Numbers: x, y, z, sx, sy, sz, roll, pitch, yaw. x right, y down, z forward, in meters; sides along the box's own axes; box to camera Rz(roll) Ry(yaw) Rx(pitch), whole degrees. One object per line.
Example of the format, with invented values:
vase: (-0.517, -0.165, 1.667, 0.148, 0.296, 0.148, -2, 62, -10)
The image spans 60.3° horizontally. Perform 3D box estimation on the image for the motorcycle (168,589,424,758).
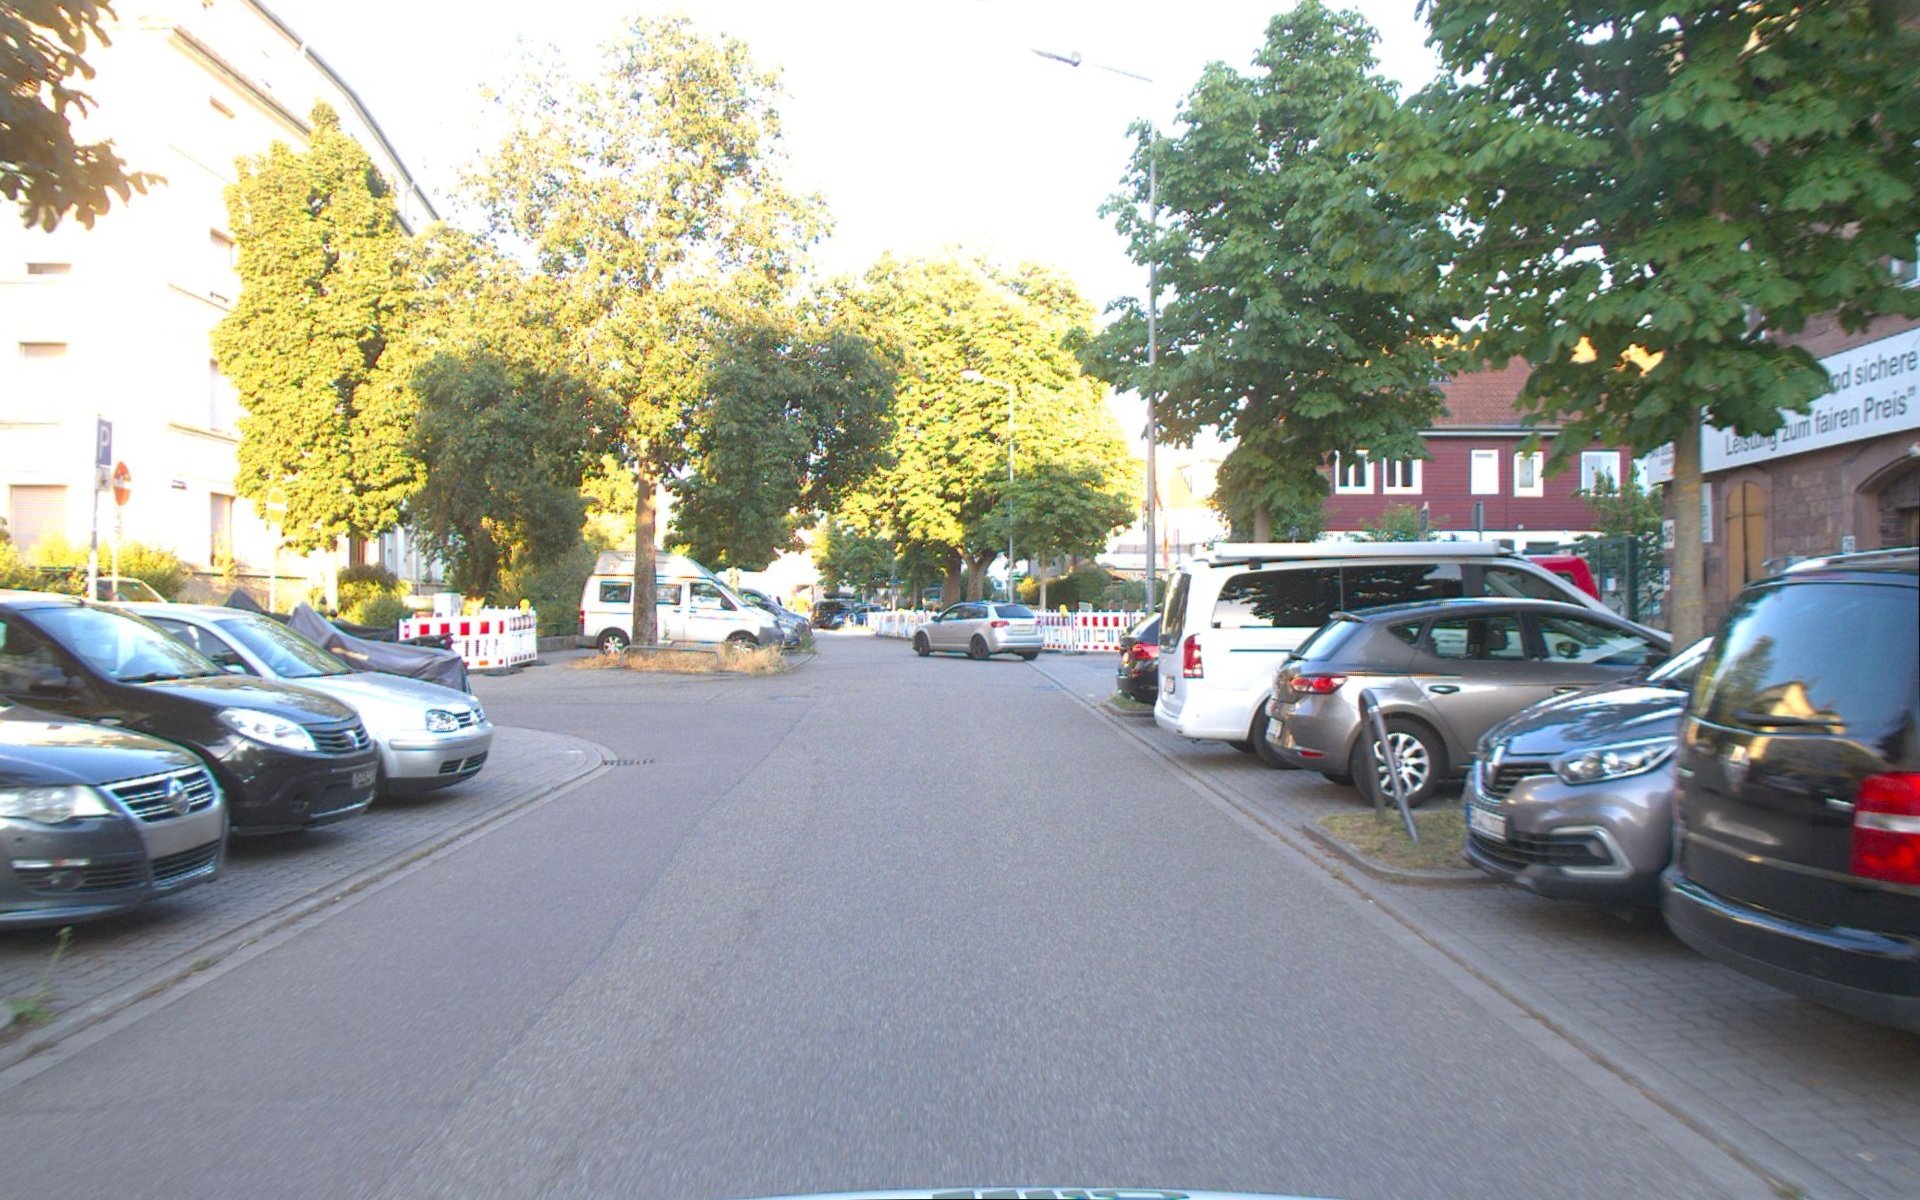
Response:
motorcycle: (-6.477, 0.702, 16.200, 2.184, 1.610, 0.774, 0, -1, 3)

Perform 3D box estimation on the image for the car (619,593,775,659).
car: (-6.672, 0.661, 42.262, 3.728, 1.549, 1.651, 2, -1, -4)

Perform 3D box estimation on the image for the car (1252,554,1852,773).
car: (4.316, 0.452, 12.498, 3.905, 1.536, 1.776, 0, 0, -1)

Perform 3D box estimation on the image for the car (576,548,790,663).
car: (-6.419, 0.126, 38.696, 4.634, 2.614, 2.000, 0, 0, 0)

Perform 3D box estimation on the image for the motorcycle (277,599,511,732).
motorcycle: (-6.370, 0.722, 18.706, 2.333, 1.461, 0.881, 0, -1, 3)

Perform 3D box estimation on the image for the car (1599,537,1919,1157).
car: (4.438, 0.563, 5.400, 3.906, 1.647, 1.894, -3, 0, -1)

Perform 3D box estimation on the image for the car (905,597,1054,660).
car: (0.455, 0.677, 41.792, 1.793, 1.514, 3.949, 0, 0, -36)

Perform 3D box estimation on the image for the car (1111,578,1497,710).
car: (4.093, 0.520, 20.140, 4.336, 1.525, 1.773, 0, 0, -1)

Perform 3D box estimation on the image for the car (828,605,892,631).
car: (-6.643, 1.178, 109.408, 3.929, 1.680, 1.754, 0, 0, -21)

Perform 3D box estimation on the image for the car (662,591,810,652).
car: (-7.113, 0.668, 52.691, 4.585, 1.906, 1.997, 0, 0, -8)

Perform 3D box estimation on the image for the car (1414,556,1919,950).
car: (4.317, 0.625, 7.725, 3.867, 1.593, 1.819, 0, 0, -4)

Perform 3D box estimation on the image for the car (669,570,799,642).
car: (-7.897, 0.207, 57.974, 4.417, 2.473, 1.997, 0, 0, -8)

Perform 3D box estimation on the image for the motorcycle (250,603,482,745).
motorcycle: (-6.294, 0.768, 17.592, 2.184, 1.461, 0.774, 0, -1, 3)

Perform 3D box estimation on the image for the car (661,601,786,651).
car: (-7.139, 0.784, 50.200, 3.696, 1.464, 1.653, 1, -1, -6)

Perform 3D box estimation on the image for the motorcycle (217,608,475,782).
motorcycle: (-5.269, 0.799, 14.283, 1.947, 1.461, 0.721, 0, -1, -5)

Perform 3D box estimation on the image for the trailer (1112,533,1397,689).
trailer: (4.325, 0.165, 24.768, 3.905, 2.226, 2.000, 0, 0, -1)

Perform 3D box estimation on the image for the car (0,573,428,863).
car: (-5.501, 0.656, 10.112, 3.904, 1.611, 1.729, 0, 0, 2)

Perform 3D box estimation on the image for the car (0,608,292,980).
car: (-5.579, 0.730, 7.558, 4.237, 1.430, 1.852, 2, 0, 2)

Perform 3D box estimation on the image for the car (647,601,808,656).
car: (-6.294, 0.779, 45.066, 4.158, 1.418, 1.683, 1, -1, -2)

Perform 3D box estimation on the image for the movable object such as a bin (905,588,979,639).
movable object such as a bin: (-0.967, 0.665, 83.200, 2.584, 2.445, 5.177, 0, 0, -14)

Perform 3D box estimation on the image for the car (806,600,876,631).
car: (-8.212, 1.063, 114.082, 4.486, 2.058, 2.090, 0, 0, -18)

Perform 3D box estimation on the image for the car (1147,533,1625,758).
car: (3.802, 0.402, 15.311, 3.906, 1.937, 2.000, 0, 0, -1)

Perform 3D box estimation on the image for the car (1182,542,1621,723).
car: (4.611, 0.340, 17.738, 4.213, 1.831, 1.904, 0, 0, -1)

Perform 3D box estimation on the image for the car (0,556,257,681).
car: (-14.621, 0.304, 28.075, 4.484, 2.049, 1.999, 0, 0, -1)

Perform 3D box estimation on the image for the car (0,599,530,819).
car: (-5.290, 0.763, 12.435, 3.636, 1.532, 1.690, 0, 0, 2)
